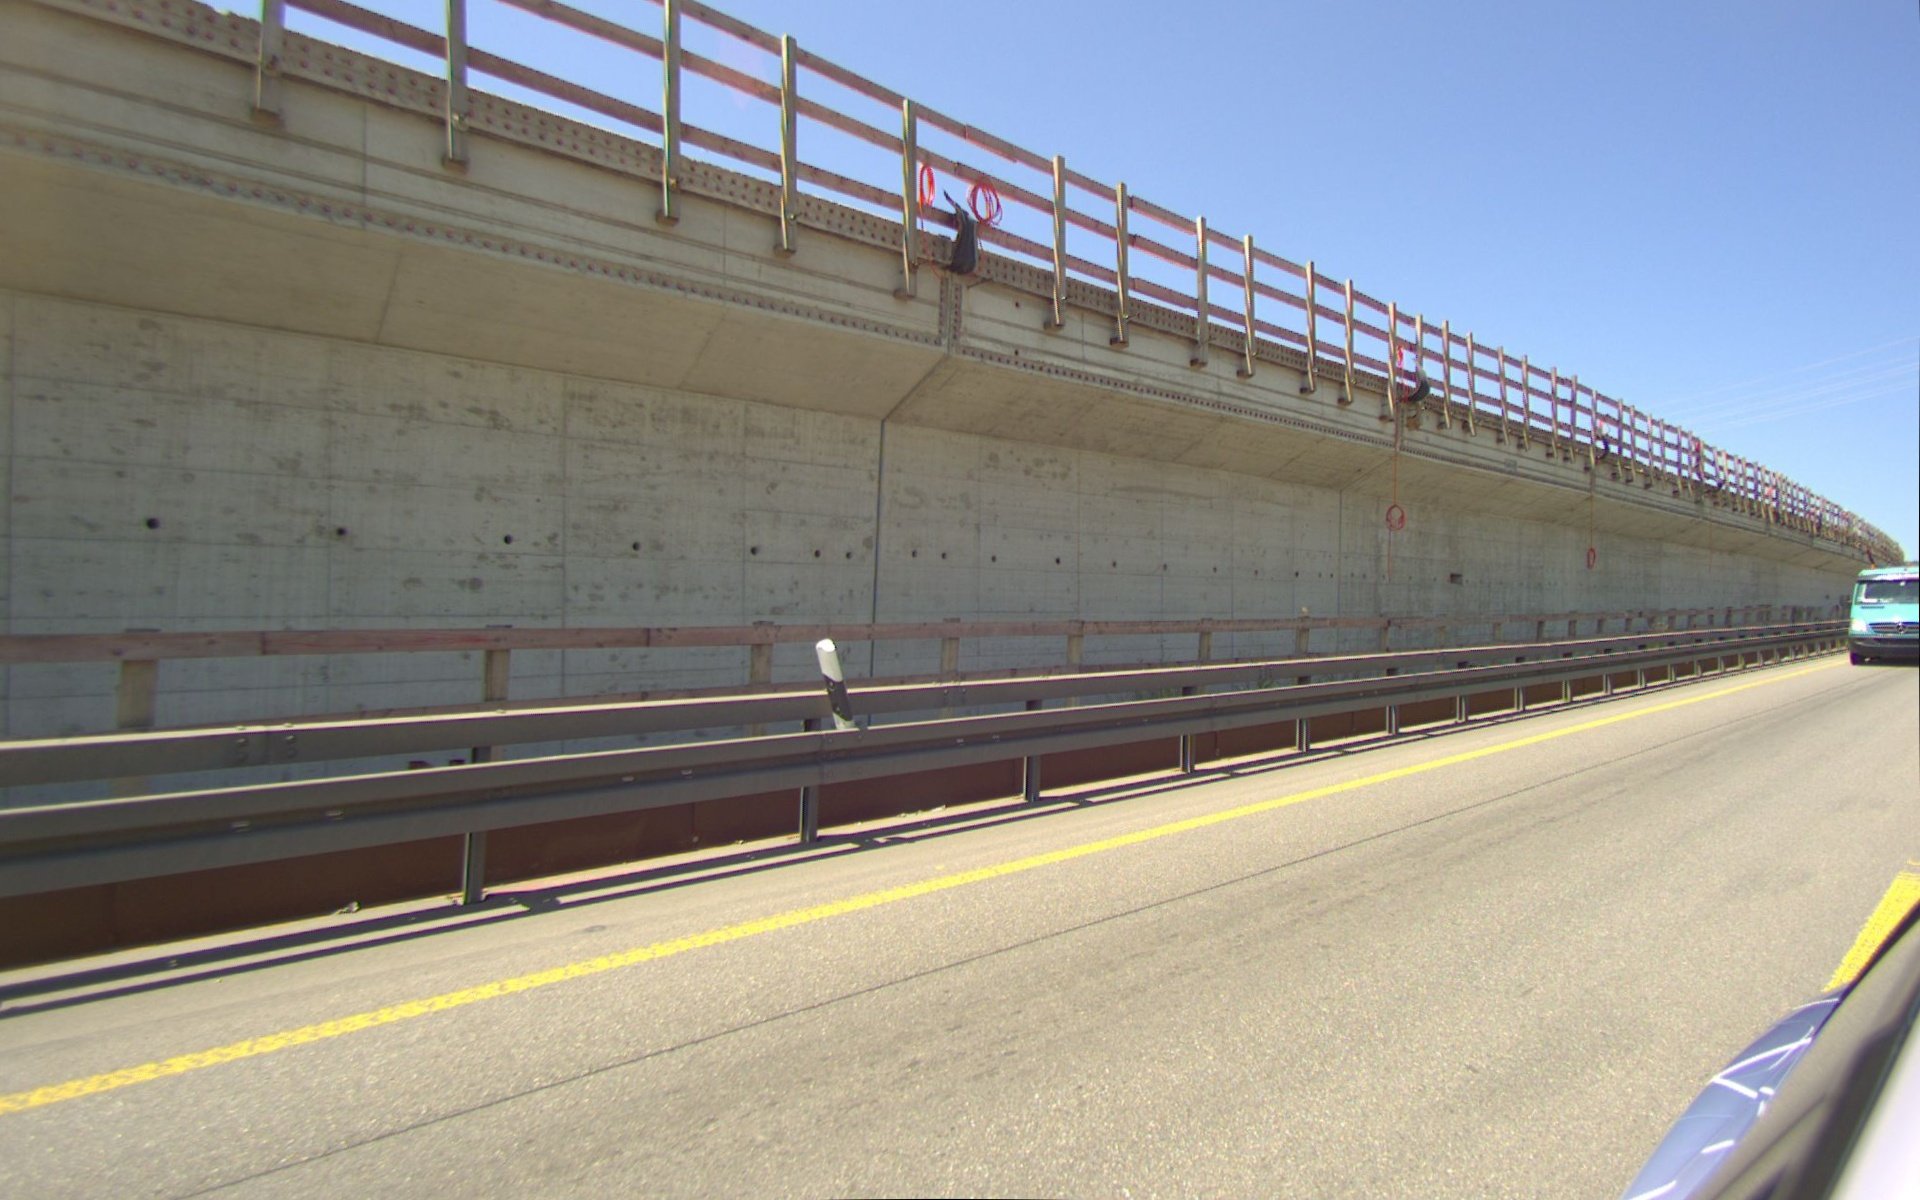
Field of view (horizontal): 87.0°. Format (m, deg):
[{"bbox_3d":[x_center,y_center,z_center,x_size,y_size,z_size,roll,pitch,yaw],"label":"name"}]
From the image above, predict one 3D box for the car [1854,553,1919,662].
[{"bbox_3d":[23.878,0.136,24.864,7.086,2.411,1.966,-1,-2,-42],"label":"car"}]
